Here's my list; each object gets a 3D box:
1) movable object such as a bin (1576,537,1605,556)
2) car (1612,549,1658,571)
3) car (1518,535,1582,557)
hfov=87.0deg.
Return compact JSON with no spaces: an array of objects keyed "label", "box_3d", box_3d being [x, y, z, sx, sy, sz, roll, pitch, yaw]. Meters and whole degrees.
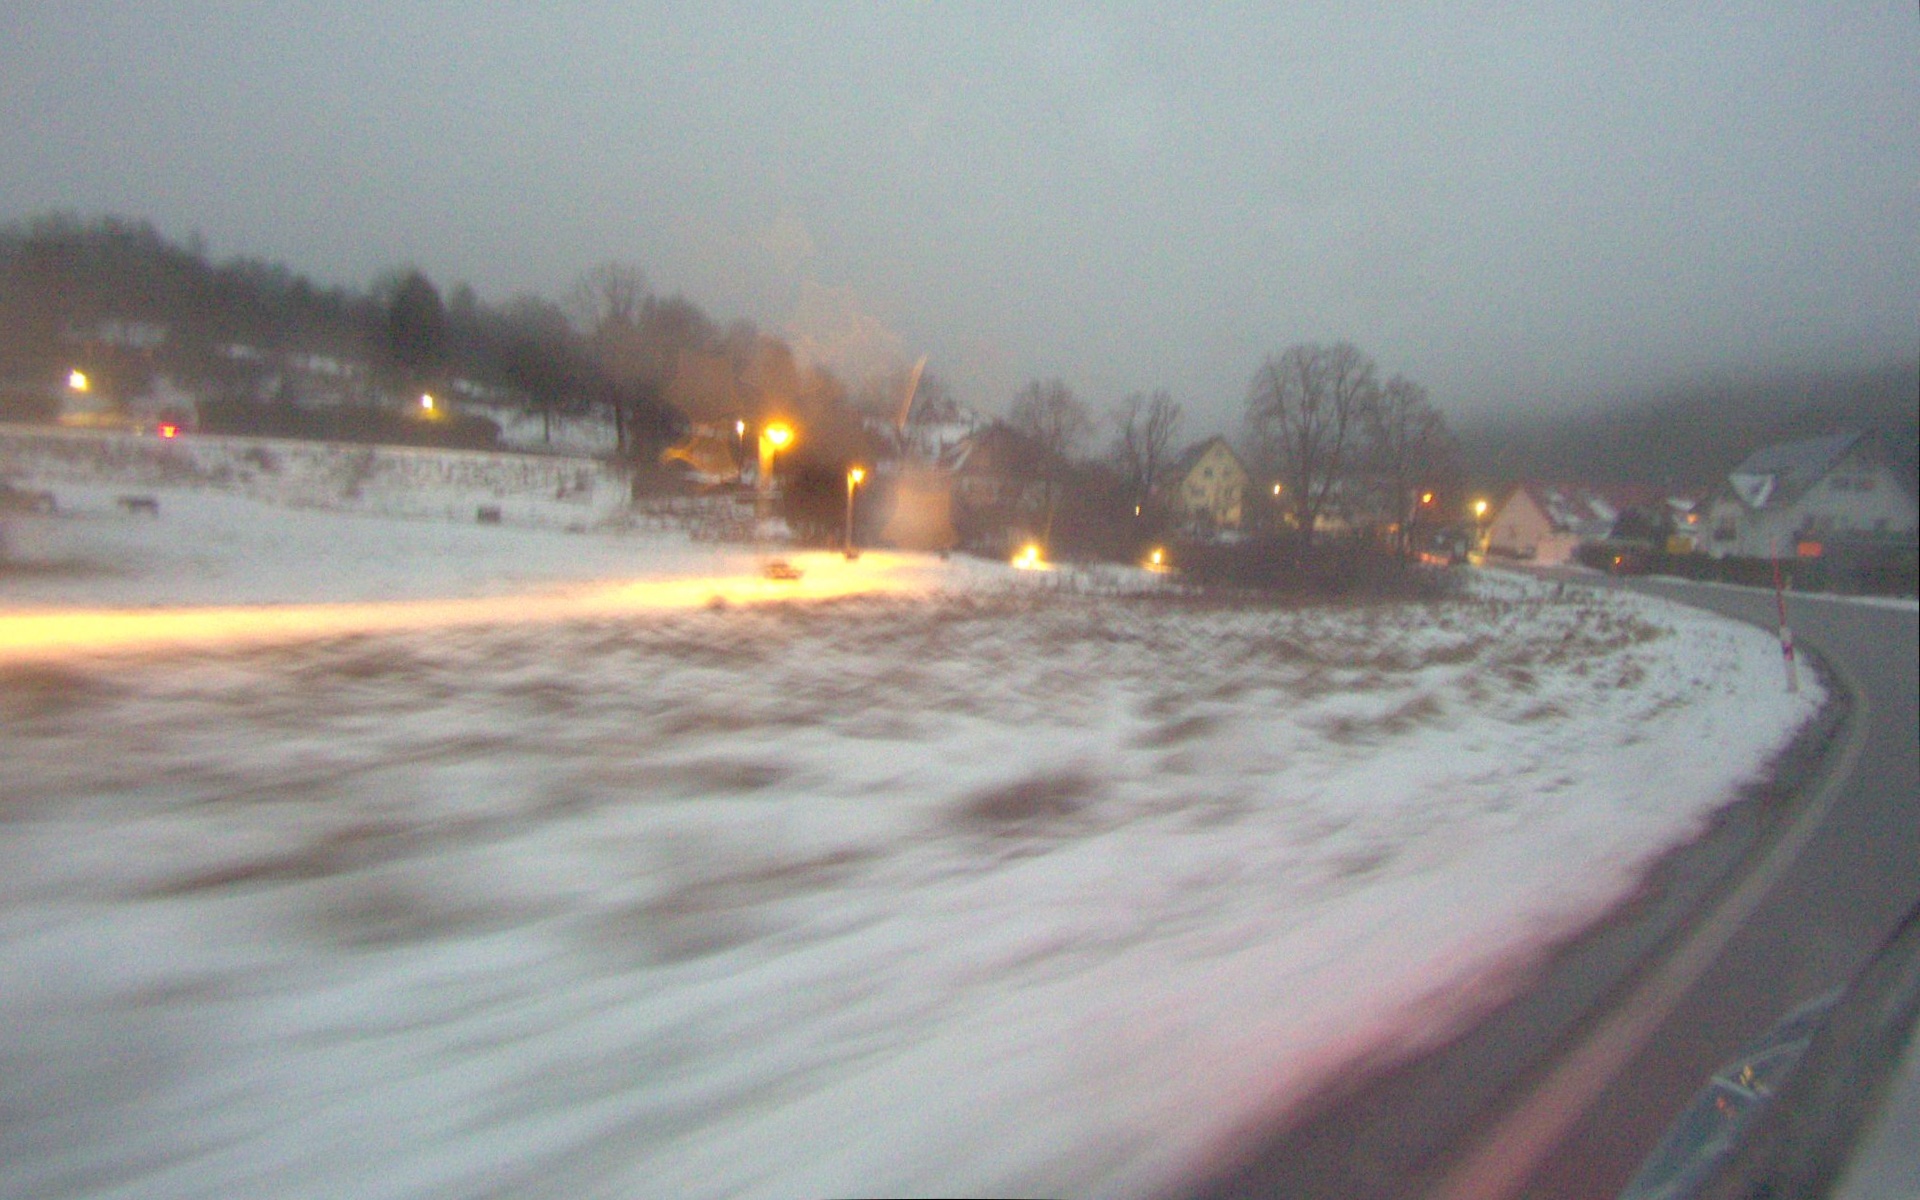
[{"label":"movable object such as a bin","box_3d":[60.284,-5.105,96.745,2.353,1.668,1.426,0,4,32]},{"label":"car","box_3d":[52.672,-3.165,79.024,1.697,1.552,3.507,2,4,11]},{"label":"car","box_3d":[62.544,-5.730,107.378,5.189,2.035,2.214,2,8,8]}]
